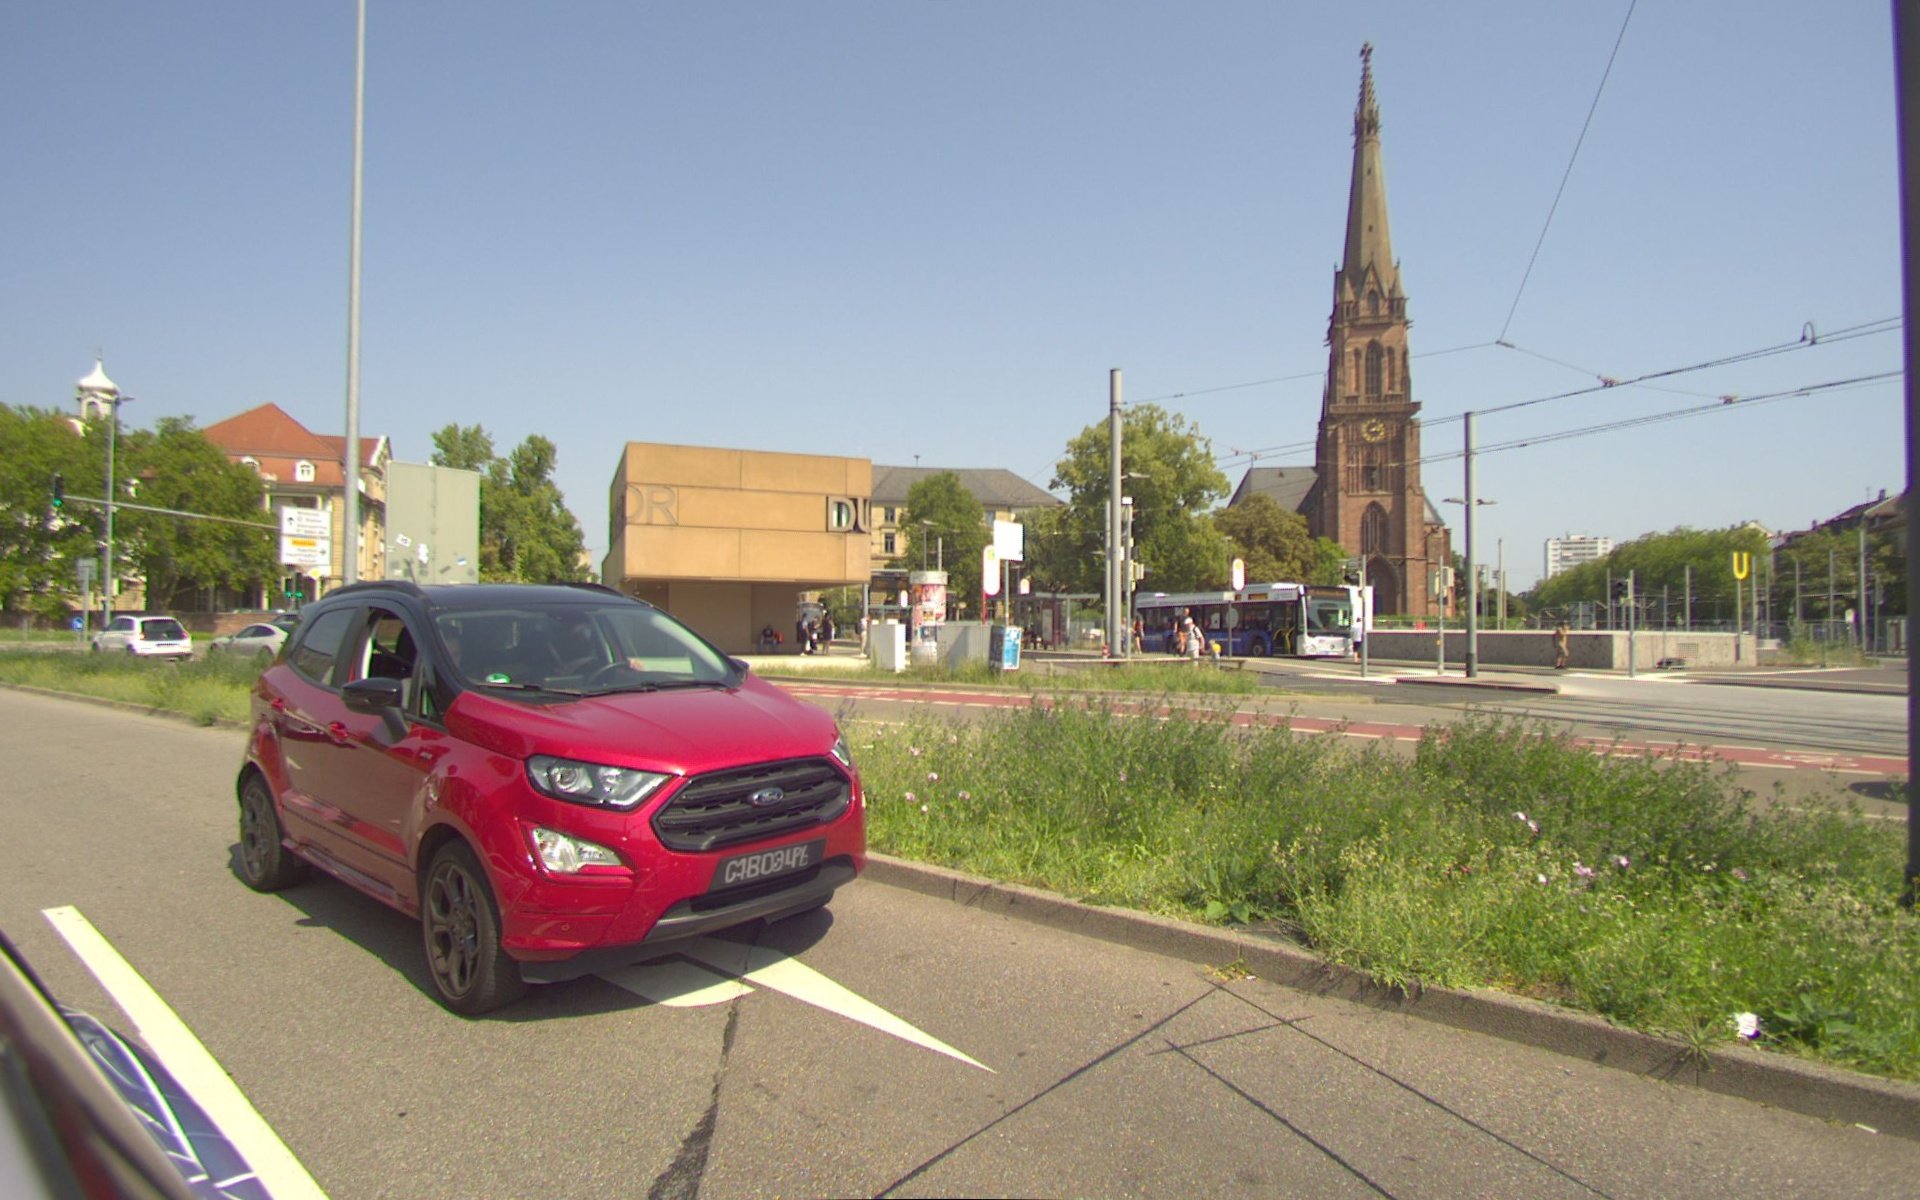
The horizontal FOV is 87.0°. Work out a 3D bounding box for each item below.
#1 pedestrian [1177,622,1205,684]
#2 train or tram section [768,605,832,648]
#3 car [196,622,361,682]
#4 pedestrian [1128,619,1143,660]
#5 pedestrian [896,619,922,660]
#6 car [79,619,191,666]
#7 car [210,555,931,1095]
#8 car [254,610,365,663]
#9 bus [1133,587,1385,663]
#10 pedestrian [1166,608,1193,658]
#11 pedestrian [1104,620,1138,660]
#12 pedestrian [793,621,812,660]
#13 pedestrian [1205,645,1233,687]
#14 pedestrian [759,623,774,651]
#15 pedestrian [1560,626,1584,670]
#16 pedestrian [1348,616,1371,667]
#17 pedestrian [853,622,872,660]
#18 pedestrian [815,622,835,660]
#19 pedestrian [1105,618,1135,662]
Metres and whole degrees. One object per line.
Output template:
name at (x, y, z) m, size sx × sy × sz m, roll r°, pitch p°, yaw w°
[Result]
pedestrian at (6.512, 1.481, 28.514) m, size 0.684 × 1.724 × 0.536 m, roll 0°, pitch -2°, yaw 3°
train or tram section at (-14.023, 2.353, 87.674) m, size 2.658 × 3.465 × 13.464 m, roll 1°, pitch -2°, yaw -21°
car at (-19.590, 1.450, 29.064) m, size 4.693 × 1.597 × 1.981 m, roll -1°, pitch -2°, yaw 28°
pedestrian at (8.025, 1.796, 46.261) m, size 0.632 × 1.825 × 0.599 m, roll -1°, pitch 0°, yaw 16°
pedestrian at (-1.875, 1.462, 37.532) m, size 0.605 × 1.508 × 0.761 m, roll -1°, pitch -2°, yaw 39°
car at (-27.274, 1.393, 33.461) m, size 3.458 × 1.490 × 1.513 m, roll -1°, pitch -2°, yaw 25°
car at (-2.118, 0.698, 4.909) m, size 3.843 × 1.598 × 1.672 m, roll -1°, pitch -1°, yaw 41°
car at (-23.992, 1.321, 37.310) m, size 3.901 × 1.868 × 1.849 m, roll 0°, pitch -2°, yaw 31°
bus at (11.940, 1.094, 42.643) m, size 3.346 × 2.733 × 12.382 m, roll 1°, pitch -2°, yaw -21°
pedestrian at (8.168, 1.230, 37.643) m, size 0.792 × 1.837 × 0.535 m, roll 1°, pitch -2°, yaw -21°
pedestrian at (6.890, 1.710, 43.319) m, size 1.060 × 1.709 × 1.068 m, roll 1°, pitch -2°, yaw -21°
pedestrian at (-6.124, 1.558, 39.345) m, size 0.541 × 1.508 × 0.532 m, roll -1°, pitch -2°, yaw 39°
pedestrian at (7.195, 1.822, 28.122) m, size 0.593 × 1.134 × 0.638 m, roll -1°, pitch 0°, yaw 0°
pedestrian at (-7.792, 1.504, 40.770) m, size 0.530 × 1.108 × 0.543 m, roll 1°, pitch -2°, yaw -18°
pedestrian at (23.056, 1.800, 38.138) m, size 0.463 × 1.671 × 0.606 m, roll 1°, pitch -2°, yaw -23°
pedestrian at (14.726, 1.513, 37.330) m, size 0.638 × 1.825 × 0.594 m, roll -1°, pitch 0°, yaw 39°
pedestrian at (-3.874, 1.630, 40.102) m, size 0.541 × 1.508 × 0.532 m, roll -1°, pitch -2°, yaw 39°
pedestrian at (-5.357, 1.631, 40.134) m, size 0.541 × 1.508 × 0.532 m, roll -1°, pitch -2°, yaw 39°
pedestrian at (6.854, 1.717, 43.404) m, size 0.913 × 1.837 × 0.940 m, roll 1°, pitch -2°, yaw -21°
